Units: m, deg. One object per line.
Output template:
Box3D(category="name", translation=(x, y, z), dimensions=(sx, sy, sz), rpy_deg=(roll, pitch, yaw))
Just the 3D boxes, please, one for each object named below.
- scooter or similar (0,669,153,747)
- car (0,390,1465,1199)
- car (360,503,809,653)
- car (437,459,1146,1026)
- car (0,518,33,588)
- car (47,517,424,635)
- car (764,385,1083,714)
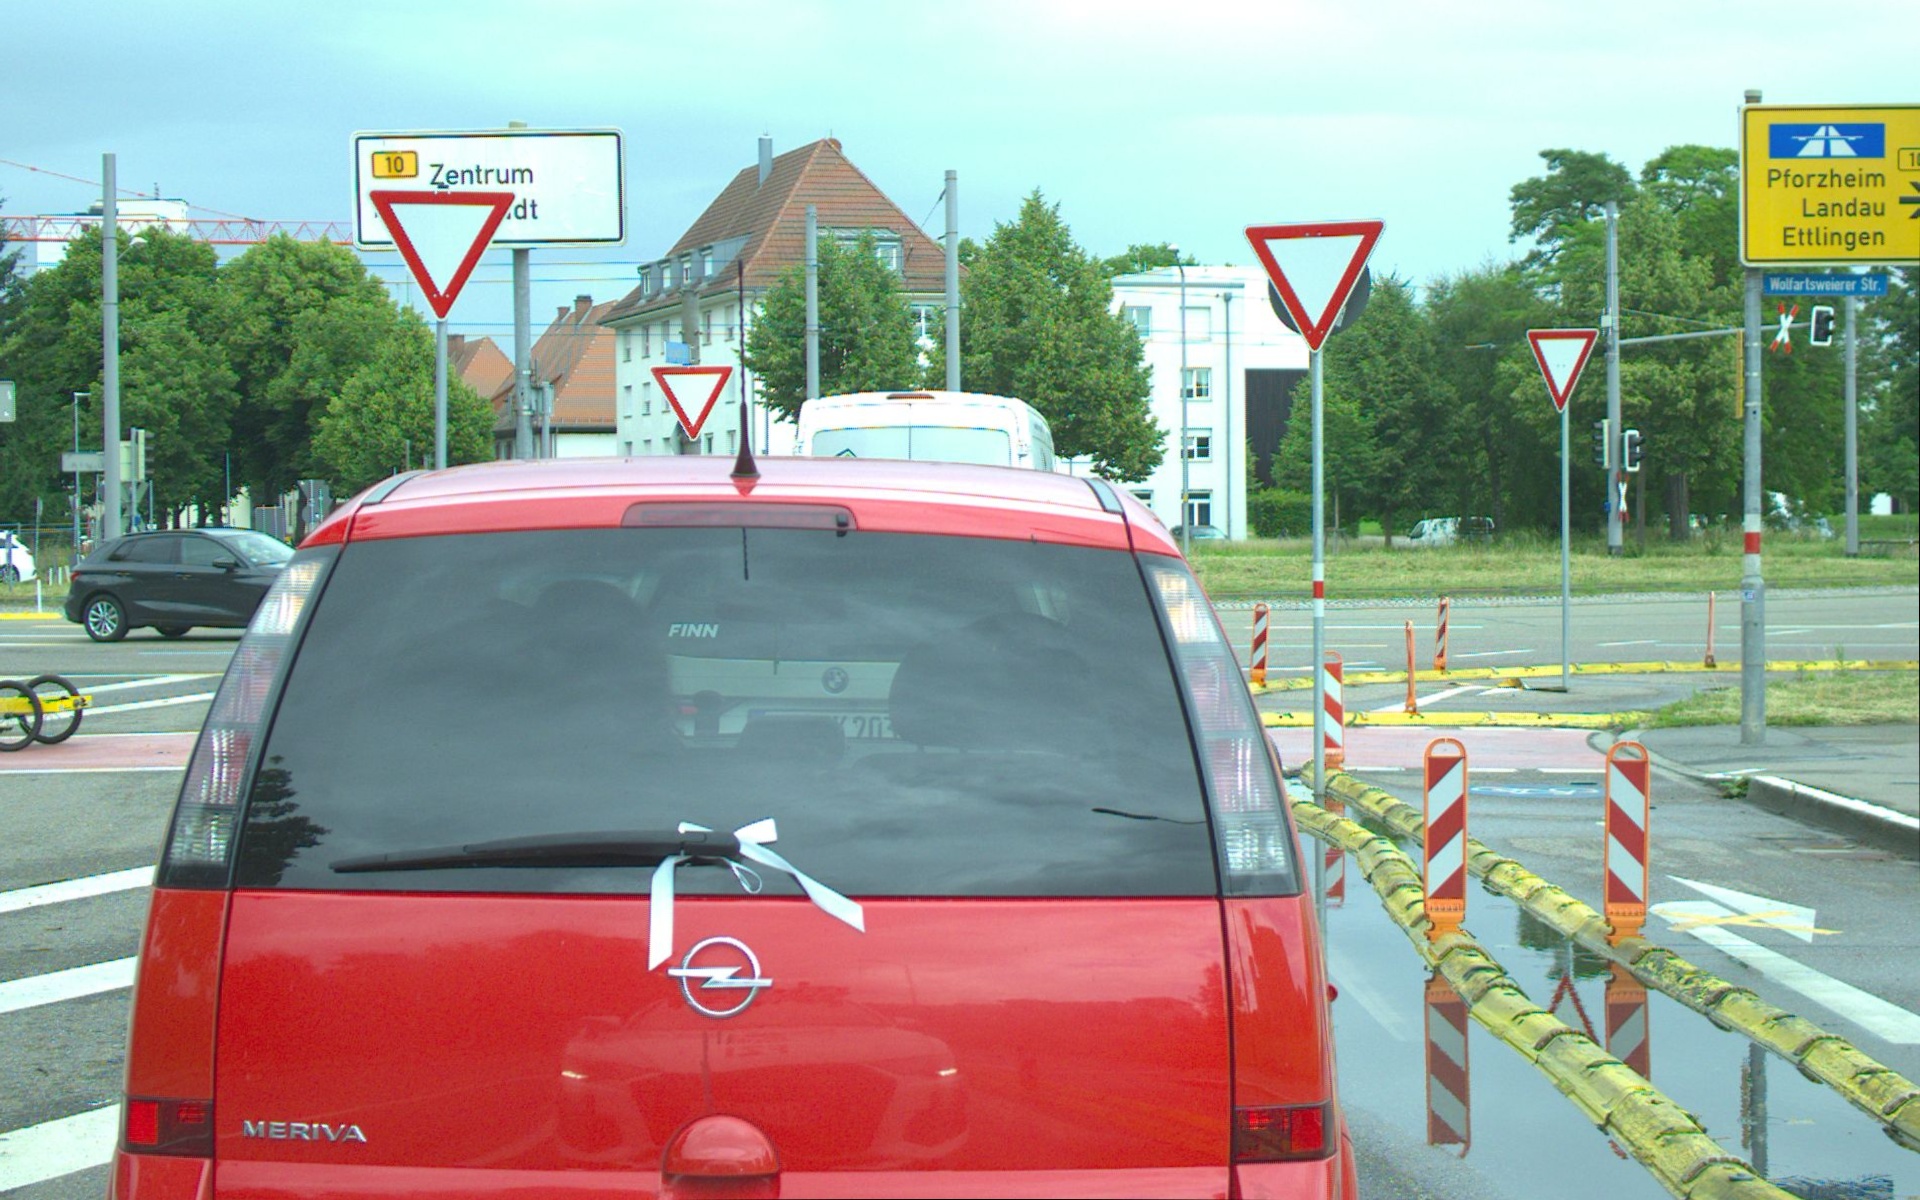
Box3D(category="scooter or similar", translation=(-6.722, 0.775, 24.679), dimensions=(1.607, 0.502, 0.924), rpy_deg=(-1, 1, 3))
Box3D(category="car", translation=(-0.299, 0.545, 5.704), dimensions=(1.673, 1.635, 3.627), rpy_deg=(1, 1, -1))
Box3D(category="car", translation=(-4.096, -0.257, 37.884), dimensions=(4.519, 1.577, 1.999), rpy_deg=(0, 1, 11))
Box3D(category="car", translation=(-0.524, 0.361, 12.384), dimensions=(2.059, 1.642, 4.608), rpy_deg=(1, 1, -1))
Box3D(category="car", translation=(-24.258, -1.076, 80.465), dimensions=(1.998, 1.629, 4.665), rpy_deg=(0, 2, 38))
Box3D(category="car", translation=(-9.314, -0.316, 44.283), dimensions=(4.311, 1.459, 1.998), rpy_deg=(0, 1, 17))
Box3D(category="car", translation=(-0.201, -0.454, 29.220), dimensions=(2.195, 2.531, 4.961), rpy_deg=(1, 1, 5))
